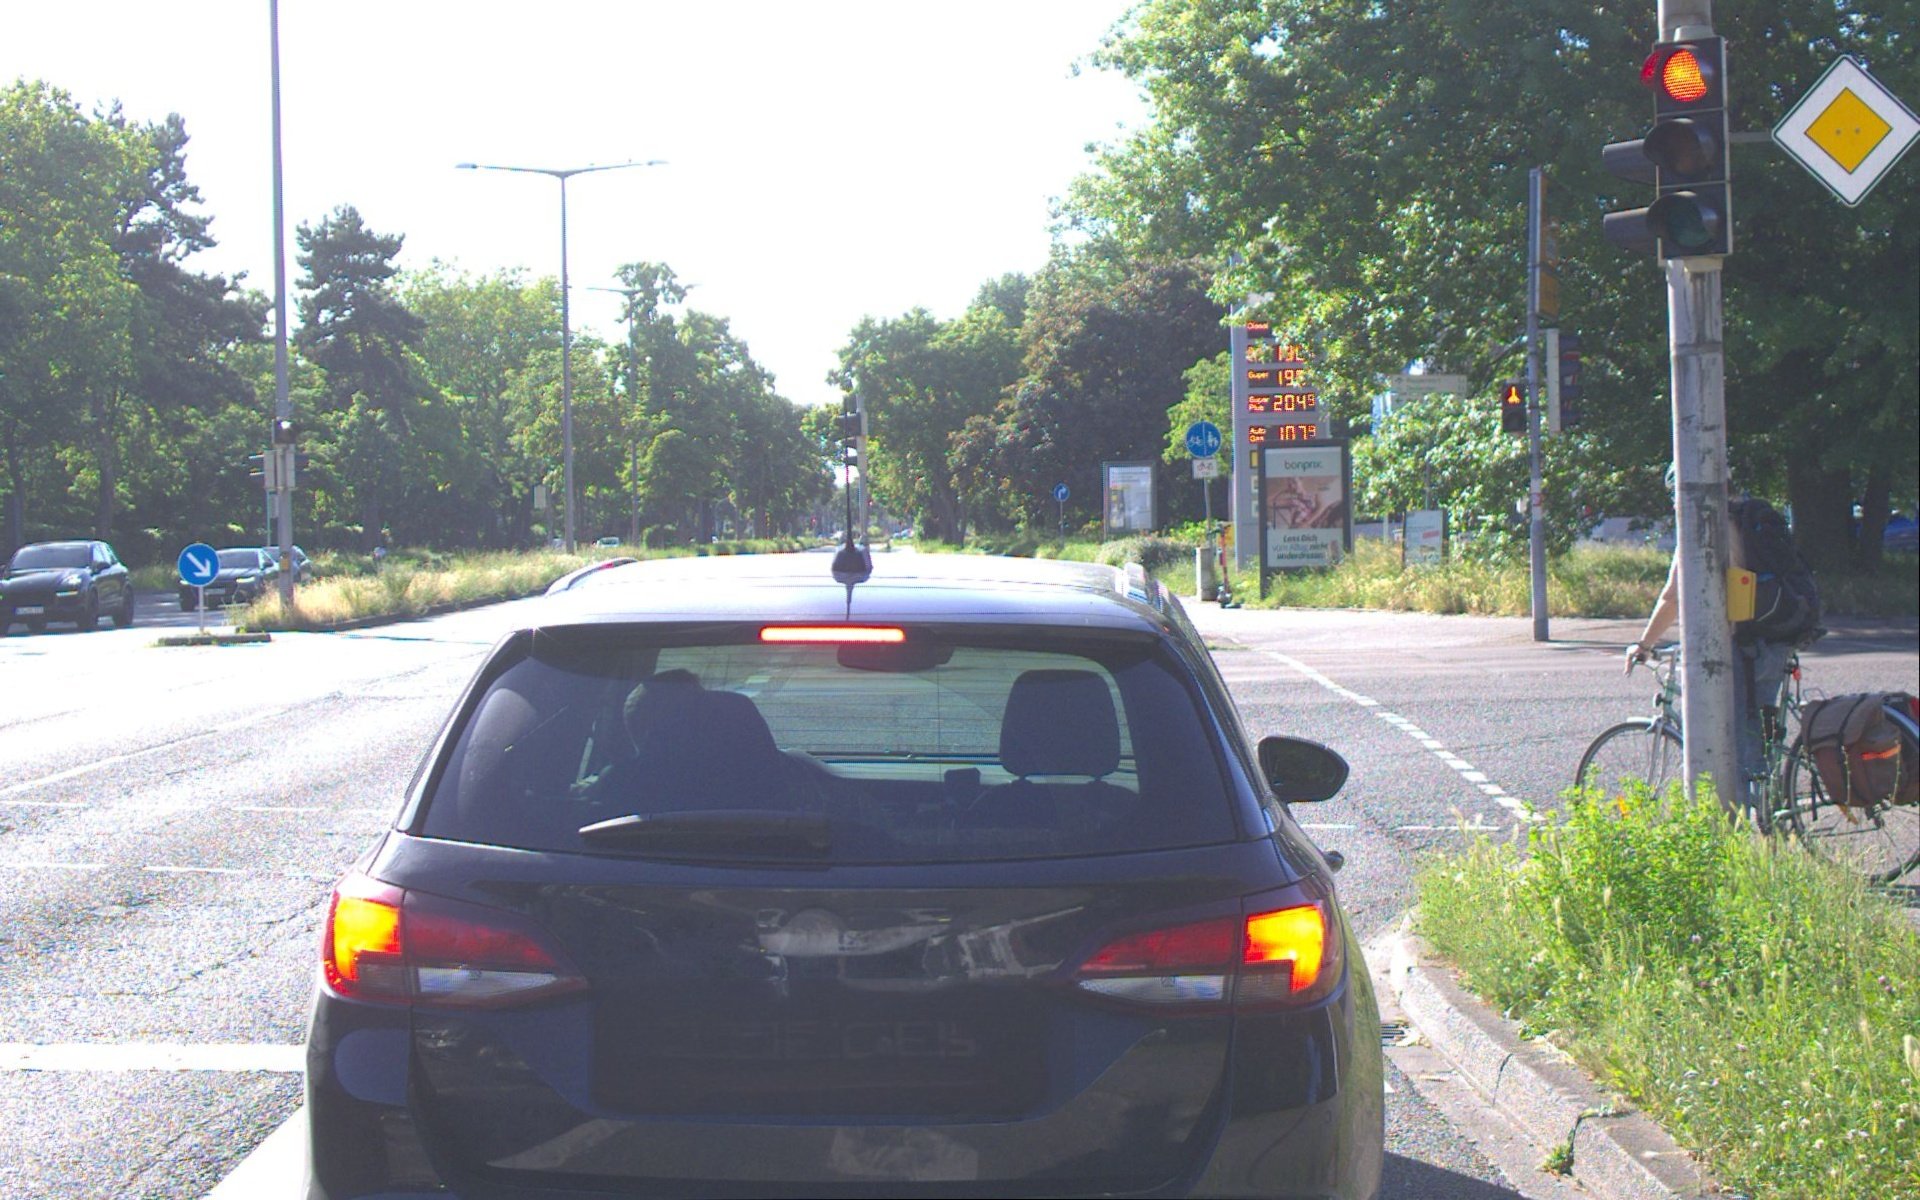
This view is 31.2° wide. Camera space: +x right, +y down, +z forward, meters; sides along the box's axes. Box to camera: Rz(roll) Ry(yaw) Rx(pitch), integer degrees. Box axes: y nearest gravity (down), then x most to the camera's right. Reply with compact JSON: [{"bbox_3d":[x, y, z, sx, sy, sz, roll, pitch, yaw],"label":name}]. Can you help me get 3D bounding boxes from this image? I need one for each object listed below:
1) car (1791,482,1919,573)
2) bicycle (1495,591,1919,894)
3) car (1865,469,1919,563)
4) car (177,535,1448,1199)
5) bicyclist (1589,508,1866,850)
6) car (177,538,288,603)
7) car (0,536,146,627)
[{"bbox_3d":[16.622,-1.287,59.820,3.887,1.512,1.746,-2,1,-23],"label":"car"},{"bbox_3d":[2.983,0.547,13.351,0.536,1.094,1.775,-3,0,-44],"label":"bicycle"},{"bbox_3d":[17.097,-1.428,56.734,3.887,1.512,1.746,-2,1,-23],"label":"car"},{"bbox_3d":[-0.228,0.632,6.865,1.756,1.490,4.207,0,1,-1],"label":"car"},{"bbox_3d":[2.975,0.306,13.349,0.536,1.272,0.829,-3,0,-44],"label":"bicyclist"},{"bbox_3d":[-17.275,-0.722,81.811,1.776,1.458,4.165,-1,1,-1],"label":"car"},{"bbox_3d":[-16.883,-0.373,64.802,1.993,1.596,4.616,-1,1,-1],"label":"car"}]
